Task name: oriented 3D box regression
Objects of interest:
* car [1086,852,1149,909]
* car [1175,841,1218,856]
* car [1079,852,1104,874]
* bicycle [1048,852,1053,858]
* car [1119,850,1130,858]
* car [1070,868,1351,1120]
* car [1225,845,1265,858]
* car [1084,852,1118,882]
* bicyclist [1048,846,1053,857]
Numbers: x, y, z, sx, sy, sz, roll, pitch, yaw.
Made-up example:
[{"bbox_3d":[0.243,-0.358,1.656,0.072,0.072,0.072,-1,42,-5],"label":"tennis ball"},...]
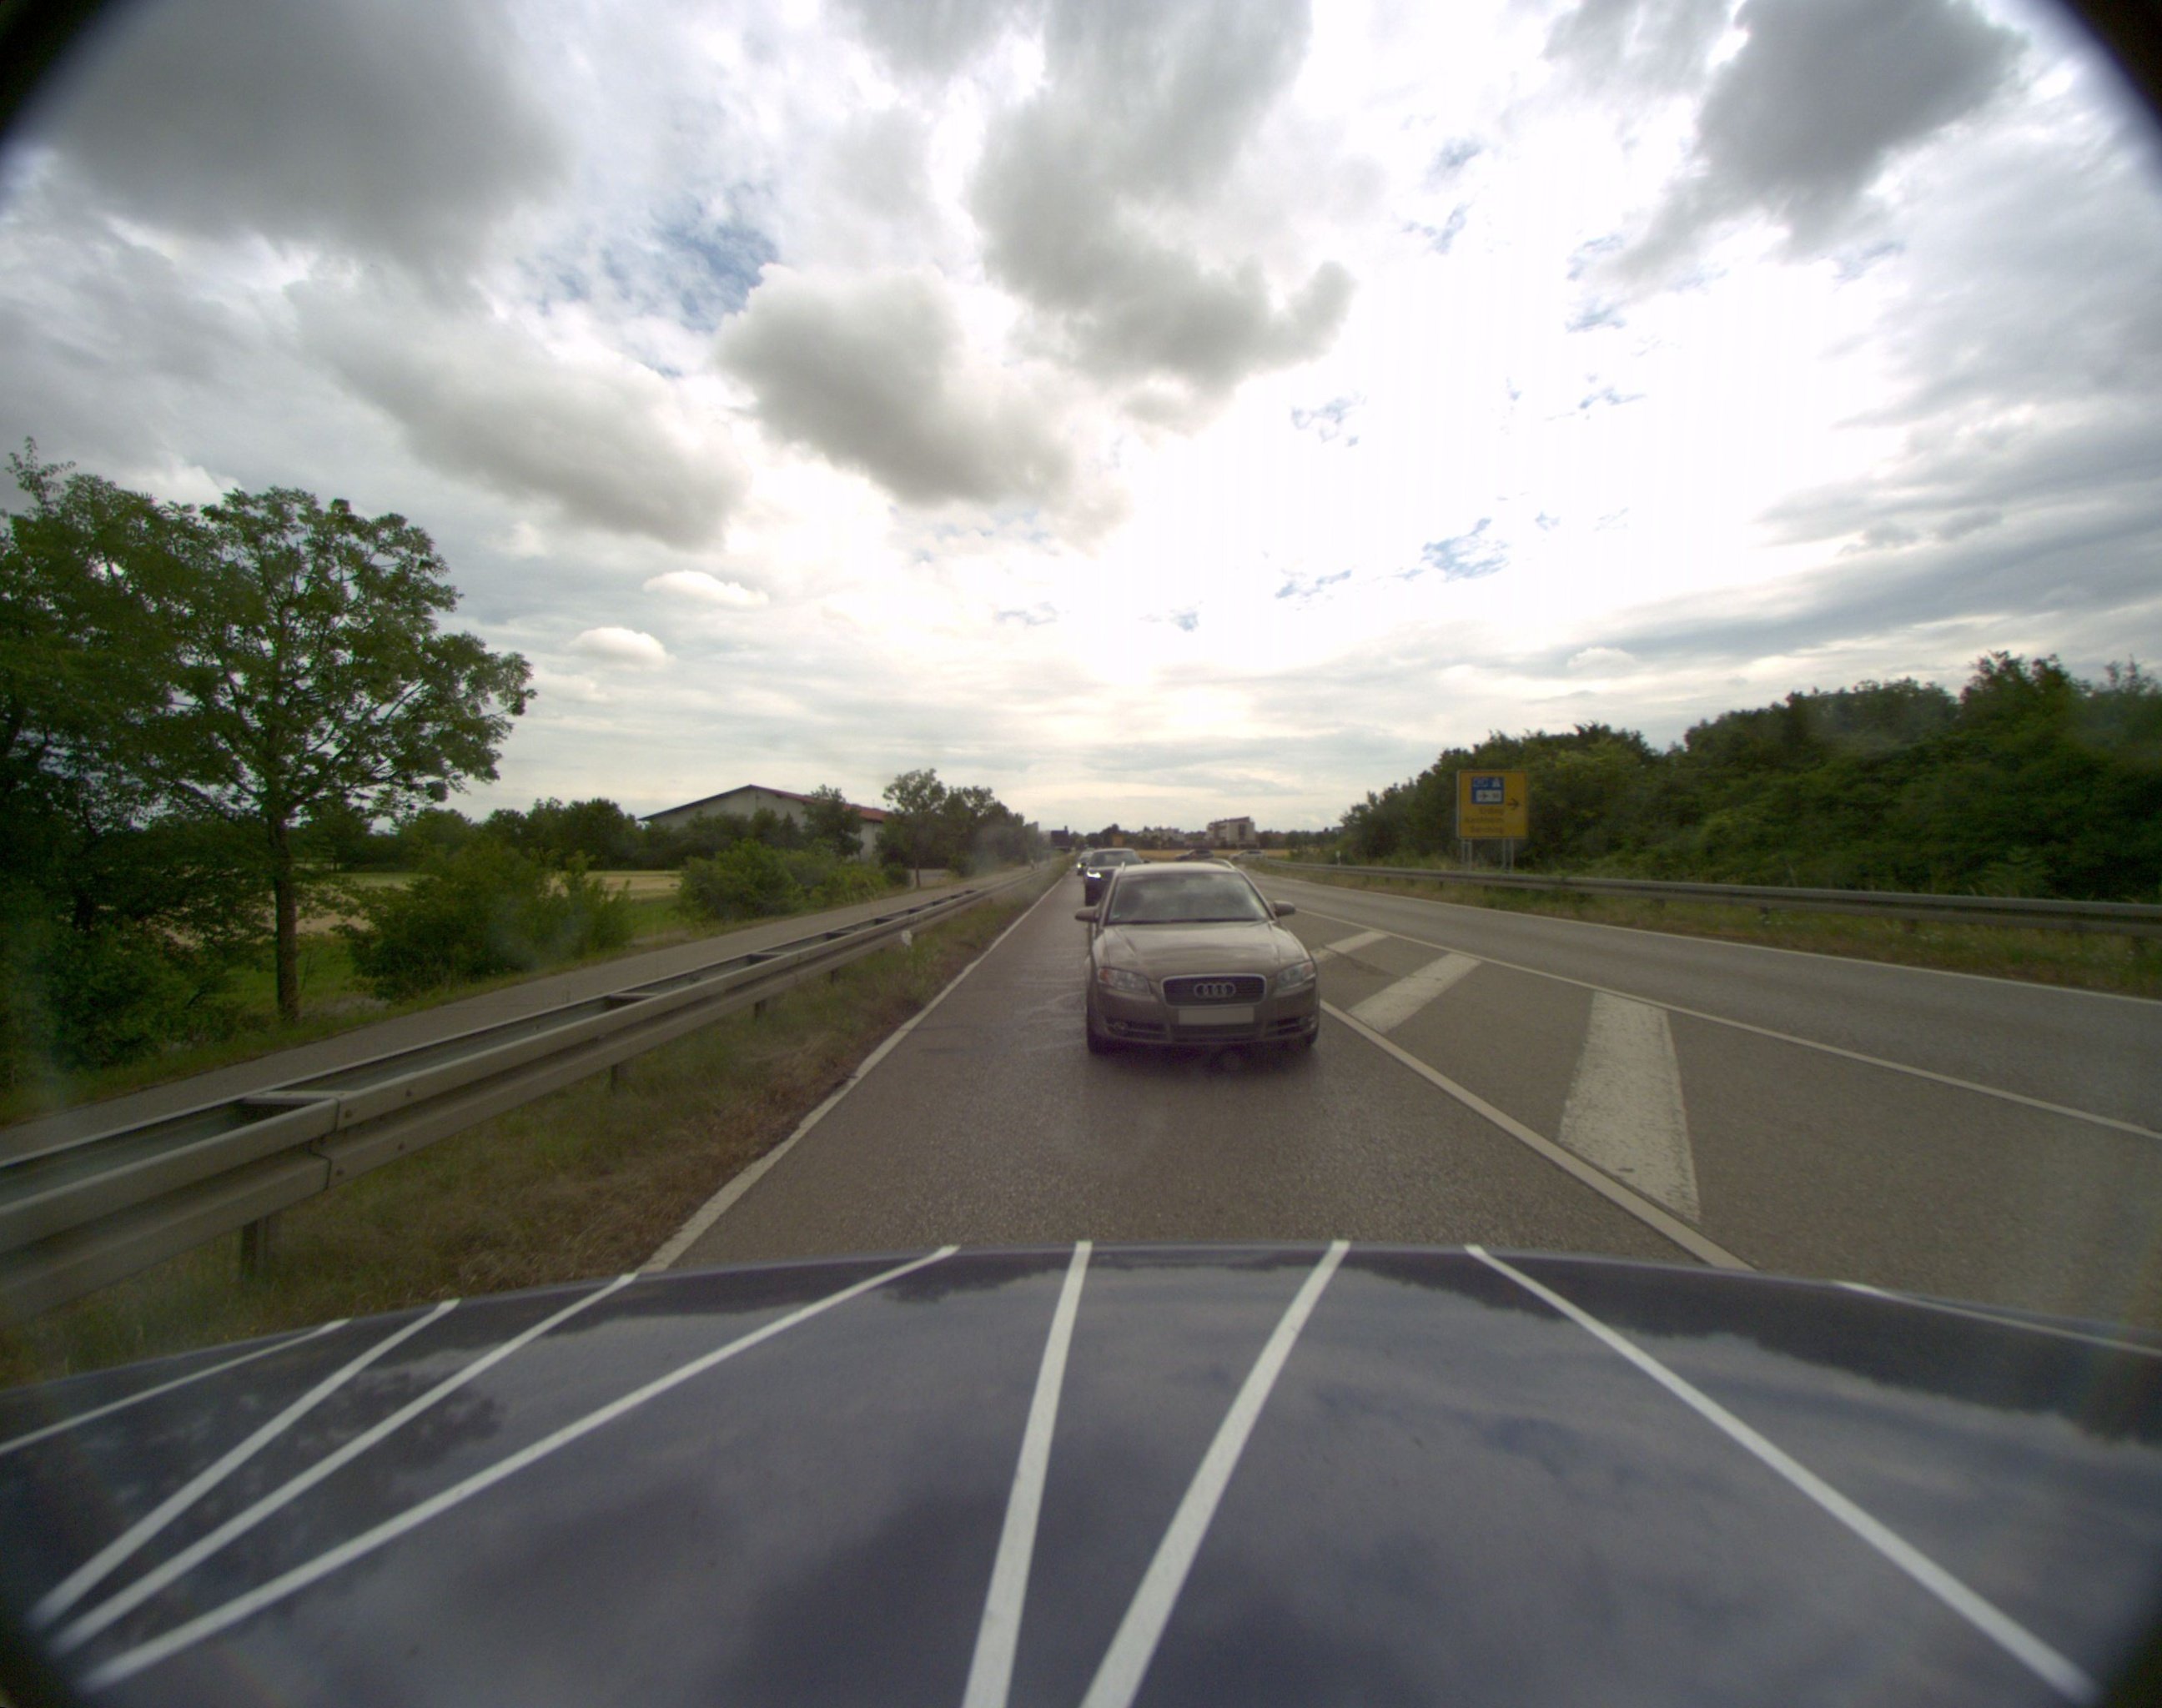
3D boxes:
[{"bbox_3d":[1.046,0.754,23.623,1.730,1.534,4.204,-2,0,0],"label":"car"},{"bbox_3d":[14.024,-0.634,92.469,4.815,1.680,1.999,-1,1,-3],"label":"car"},{"bbox_3d":[0.773,0.635,56.378,1.730,1.436,4.204,-2,0,0],"label":"car"},{"bbox_3d":[-4.642,0.124,116.218,0.640,0.972,2.072,-1,1,1],"label":"bicycle"},{"bbox_3d":[8.440,-0.017,147.442,1.804,1.442,4.445,-1,1,0],"label":"car"},{"bbox_3d":[0.828,0.915,6.839,1.730,1.436,4.204,-1,0,0],"label":"car"},{"bbox_3d":[19.967,-0.318,92.472,4.672,1.490,2.001,-1,1,10],"label":"car"},{"bbox_3d":[1.072,0.672,42.025,1.730,1.478,4.204,-2,0,0],"label":"car"},{"bbox_3d":[-4.649,-0.370,116.190,0.640,1.573,0.969,-1,1,1],"label":"bicyclist"}]
